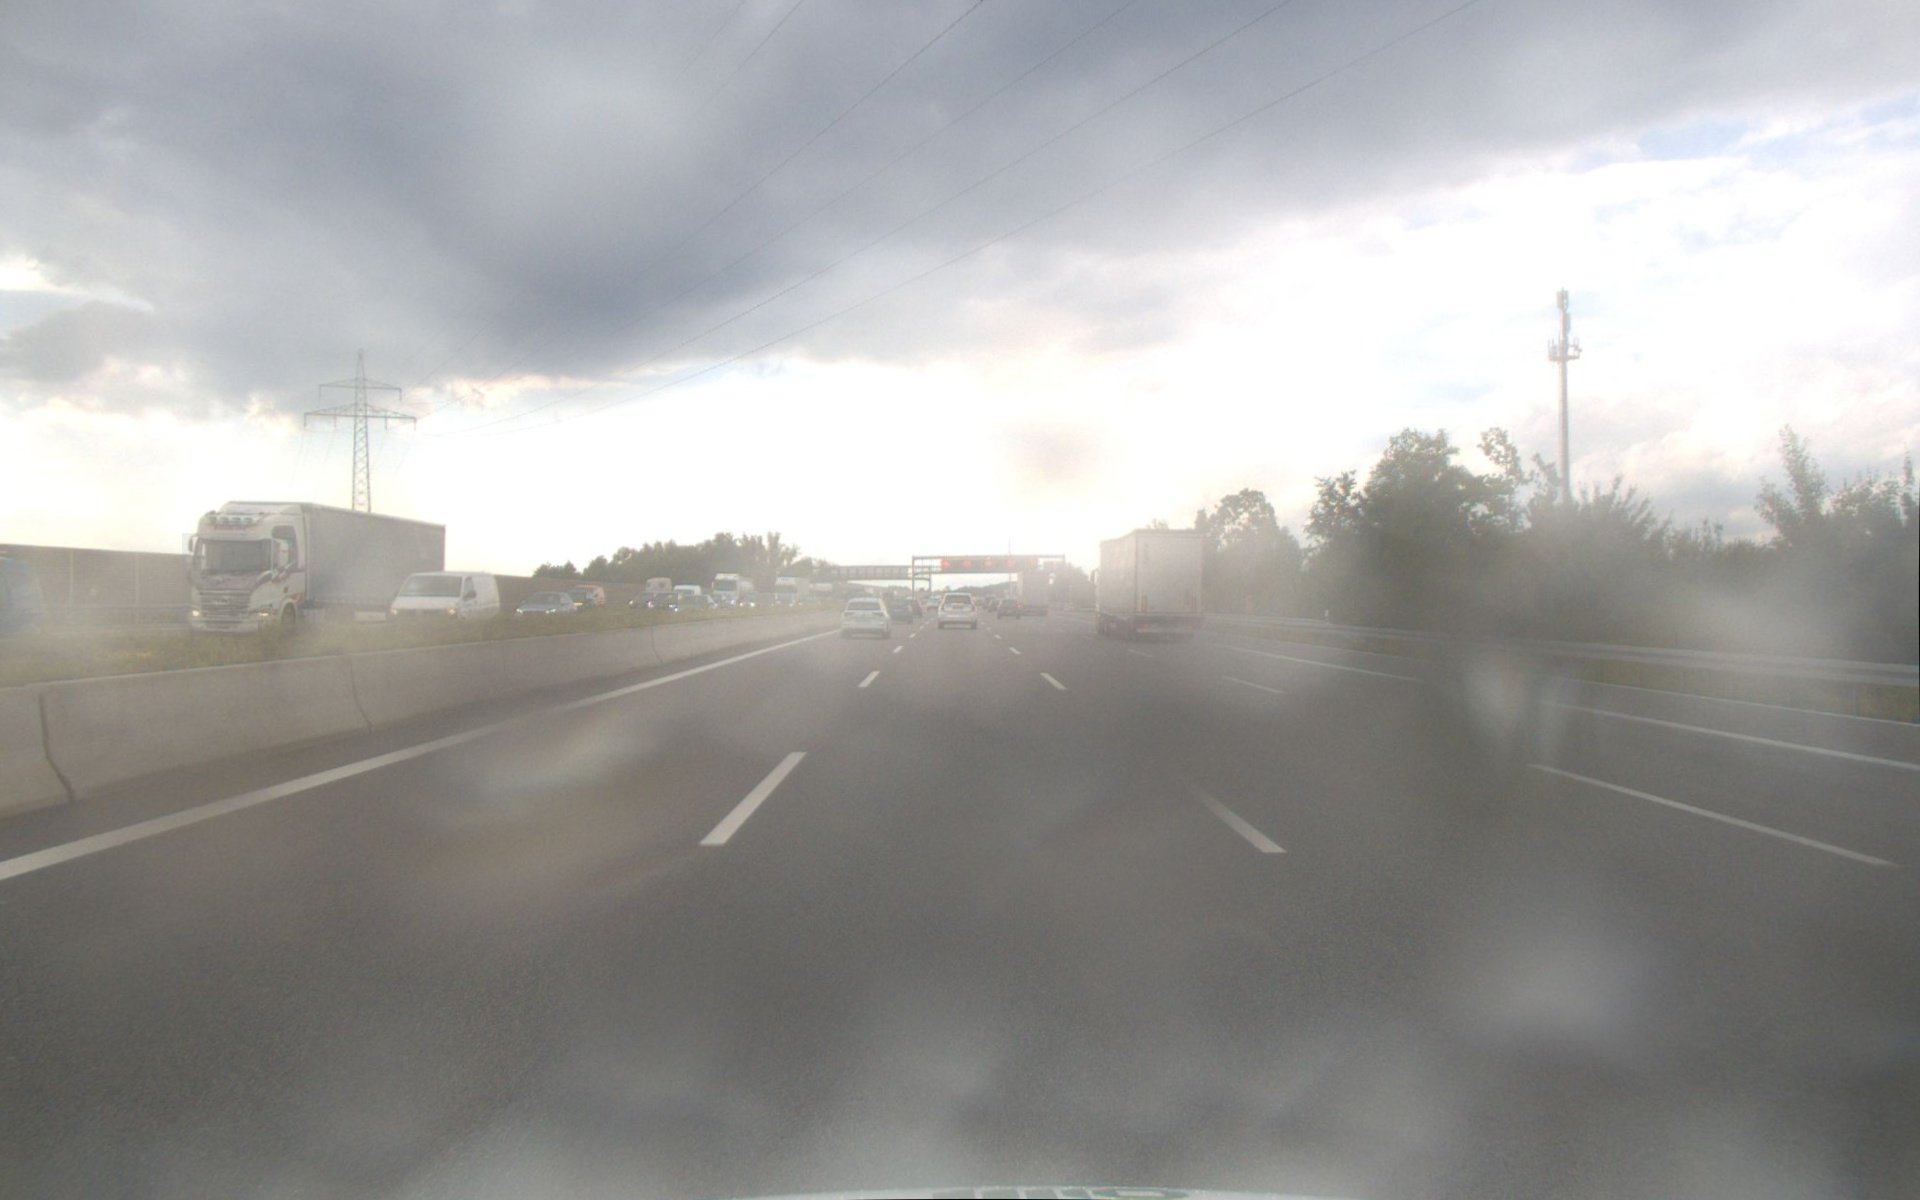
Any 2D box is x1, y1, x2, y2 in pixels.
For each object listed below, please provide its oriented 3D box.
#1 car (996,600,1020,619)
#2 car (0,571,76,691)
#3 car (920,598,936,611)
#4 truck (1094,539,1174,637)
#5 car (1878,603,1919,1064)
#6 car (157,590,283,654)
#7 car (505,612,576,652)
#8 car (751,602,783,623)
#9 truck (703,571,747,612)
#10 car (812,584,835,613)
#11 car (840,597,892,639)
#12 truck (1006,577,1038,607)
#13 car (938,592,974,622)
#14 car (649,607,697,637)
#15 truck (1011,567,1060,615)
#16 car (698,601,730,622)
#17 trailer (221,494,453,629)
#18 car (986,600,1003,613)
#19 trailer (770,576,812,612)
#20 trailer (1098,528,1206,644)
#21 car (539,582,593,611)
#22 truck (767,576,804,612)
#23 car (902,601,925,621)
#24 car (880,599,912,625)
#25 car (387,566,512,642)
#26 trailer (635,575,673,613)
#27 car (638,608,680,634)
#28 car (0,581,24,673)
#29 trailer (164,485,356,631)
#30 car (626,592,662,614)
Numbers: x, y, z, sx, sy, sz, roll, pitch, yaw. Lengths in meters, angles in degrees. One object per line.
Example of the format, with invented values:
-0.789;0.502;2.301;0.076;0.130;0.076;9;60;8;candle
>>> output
3.728;0.716;129.176;1.798;1.466;4.055;1;0;1;car
-13.434;0.386;21.283;1.729;1.563;4.482;1;0;-1;car
-3.943;0.540;204.053;1.736;1.466;4.055;1;0;1;car
7.562;-0.501;72.482;2.900;4.090;6.589;1;0;1;truck
3.799;0.756;3.946;1.417;1.466;3.163;1;0;-1;car
-27.276;0.786;61.217;2.073;2.232;5.796;1;0;-1;car
-17.736;1.326;70.184;1.729;1.563;5.159;1;0;-1;car
-13.989;0.877;119.858;1.789;1.480;4.942;1;0;-1;car
-25.976;-0.910;183.080;3.585;4.394;8.237;1;0;0;truck
-20.503;-0.267;248.272;2.922;4.222;6.042;1;0;0;car
-3.436;0.650;60.881;1.736;1.466;3.873;1;0;-1;car
8.880;-1.099;238.221;4.156;4.249;11.989;1;0;1;truck
-0.216;0.333;82.468;1.736;1.466;4.054;1;0;-1;car
-15.206;1.159;87.867;1.729;1.480;5.084;1;0;-1;car
7.194;-0.789;159.753;4.094;4.363;12.611;1;0;0;truck
-17.836;0.846;120.208;1.729;1.480;4.232;1;0;-1;car
-21.340;-1.167;57.925;3.252;4.132;13.284;1;0;-1;trailer
3.848;0.742;185.661;1.798;1.466;4.055;1;0;1;car
-20.849;-0.700;204.769;3.585;4.180;13.399;1;0;1;trailer
7.427;-0.503;65.882;2.900;4.090;14.120;1;0;1;trailer
-21.132;-0.194;88.879;1.729;1.480;4.942;1;0;-1;car
-20.920;-0.724;198.294;3.585;4.118;6.524;1;0;1;truck
-3.630;0.831;129.388;1.736;1.466;4.054;1;0;-2;car
-3.739;0.668;97.022;1.736;1.466;4.054;1;0;-1;car
-13.962;0.108;45.565;1.883;1.933;5.159;1;0;-1;car
-24.901;-0.480;134.818;2.202;3.014;4.899;1;0;-1;trailer
-18.307;1.270;100.855;1.729;1.480;4.942;1;0;-1;car
-17.147;0.436;26.223;1.729;1.563;5.159;1;0;-1;car
-21.188;-1.205;50.495;3.252;4.114;6.077;1;0;-1;trailer
-24.793;0.219;129.947;1.925;1.623;4.819;1;0;-1;car
